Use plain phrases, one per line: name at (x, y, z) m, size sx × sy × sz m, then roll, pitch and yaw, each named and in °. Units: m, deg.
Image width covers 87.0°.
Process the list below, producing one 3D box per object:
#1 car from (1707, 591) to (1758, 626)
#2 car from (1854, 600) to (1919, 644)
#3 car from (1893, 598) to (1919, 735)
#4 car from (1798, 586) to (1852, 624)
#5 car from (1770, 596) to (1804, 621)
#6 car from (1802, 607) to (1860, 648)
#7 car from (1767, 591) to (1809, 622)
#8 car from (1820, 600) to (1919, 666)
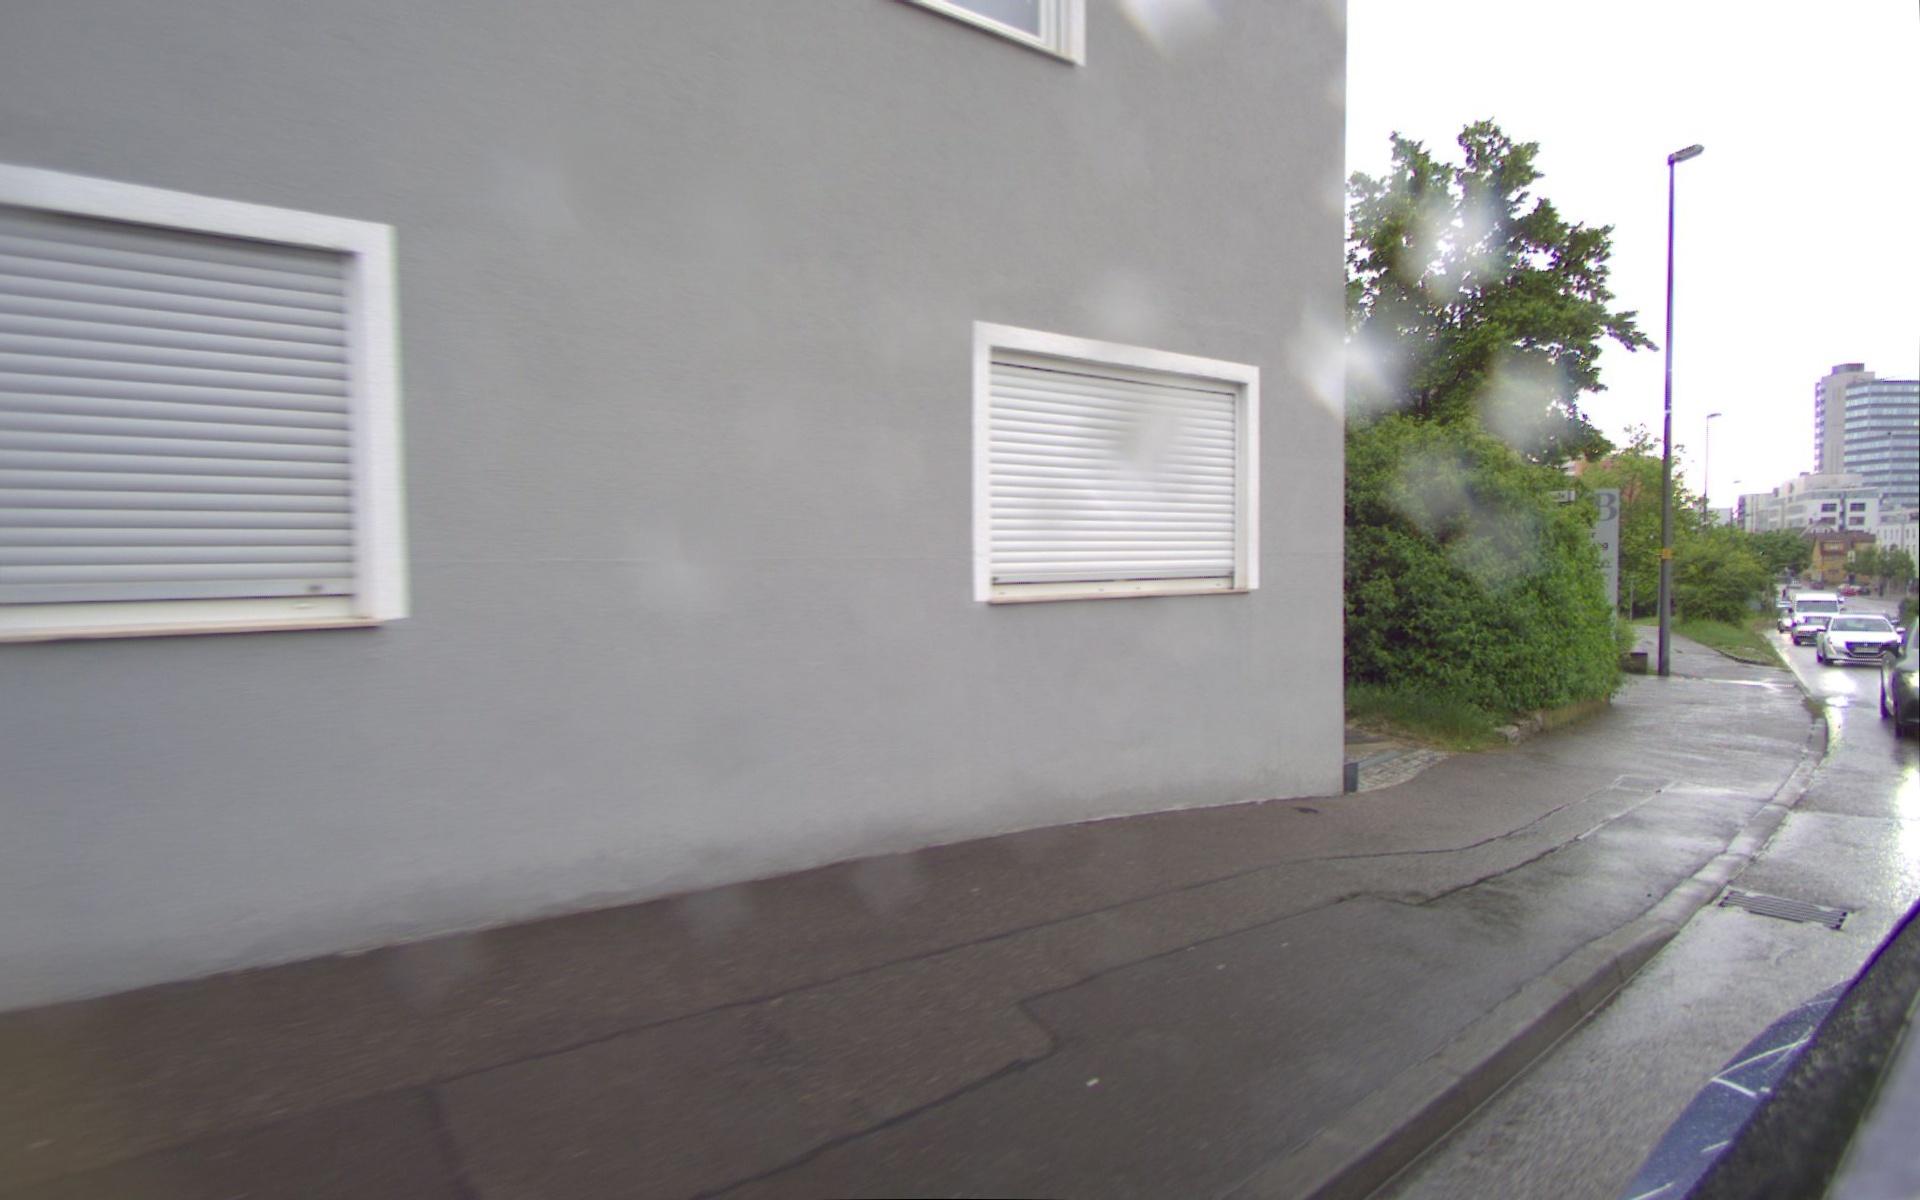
car at (42.086, 0.415, 55.117) m, size 2.041 × 1.843 × 3.910 m, roll 0°, pitch 0°, yaw 40°
car at (34.689, 0.806, 37.795) m, size 1.894 × 1.515 × 4.869 m, roll 1°, pitch 0°, yaw 41°
car at (12.974, 0.761, 12.635) m, size 1.832 × 1.533 × 4.775 m, roll 0°, pitch -1°, yaw 41°
car at (47.372, 0.294, 55.491) m, size 2.021 × 1.961 × 4.875 m, roll 1°, pitch -1°, yaw 38°
car at (67.754, 0.736, 82.948) m, size 2.021 × 1.961 × 4.875 m, roll 1°, pitch -1°, yaw 38°
car at (39.185, 1.228, 45.590) m, size 1.893 × 1.745 × 4.397 m, roll 1°, pitch -1°, yaw 40°
car at (54.610, 0.455, 66.806) m, size 2.021 × 1.961 × 4.875 m, roll 1°, pitch -1°, yaw 38°
car at (26.513, 0.914, 29.417) m, size 1.890 × 1.680 × 4.880 m, roll -3°, pitch -1°, yaw 37°
